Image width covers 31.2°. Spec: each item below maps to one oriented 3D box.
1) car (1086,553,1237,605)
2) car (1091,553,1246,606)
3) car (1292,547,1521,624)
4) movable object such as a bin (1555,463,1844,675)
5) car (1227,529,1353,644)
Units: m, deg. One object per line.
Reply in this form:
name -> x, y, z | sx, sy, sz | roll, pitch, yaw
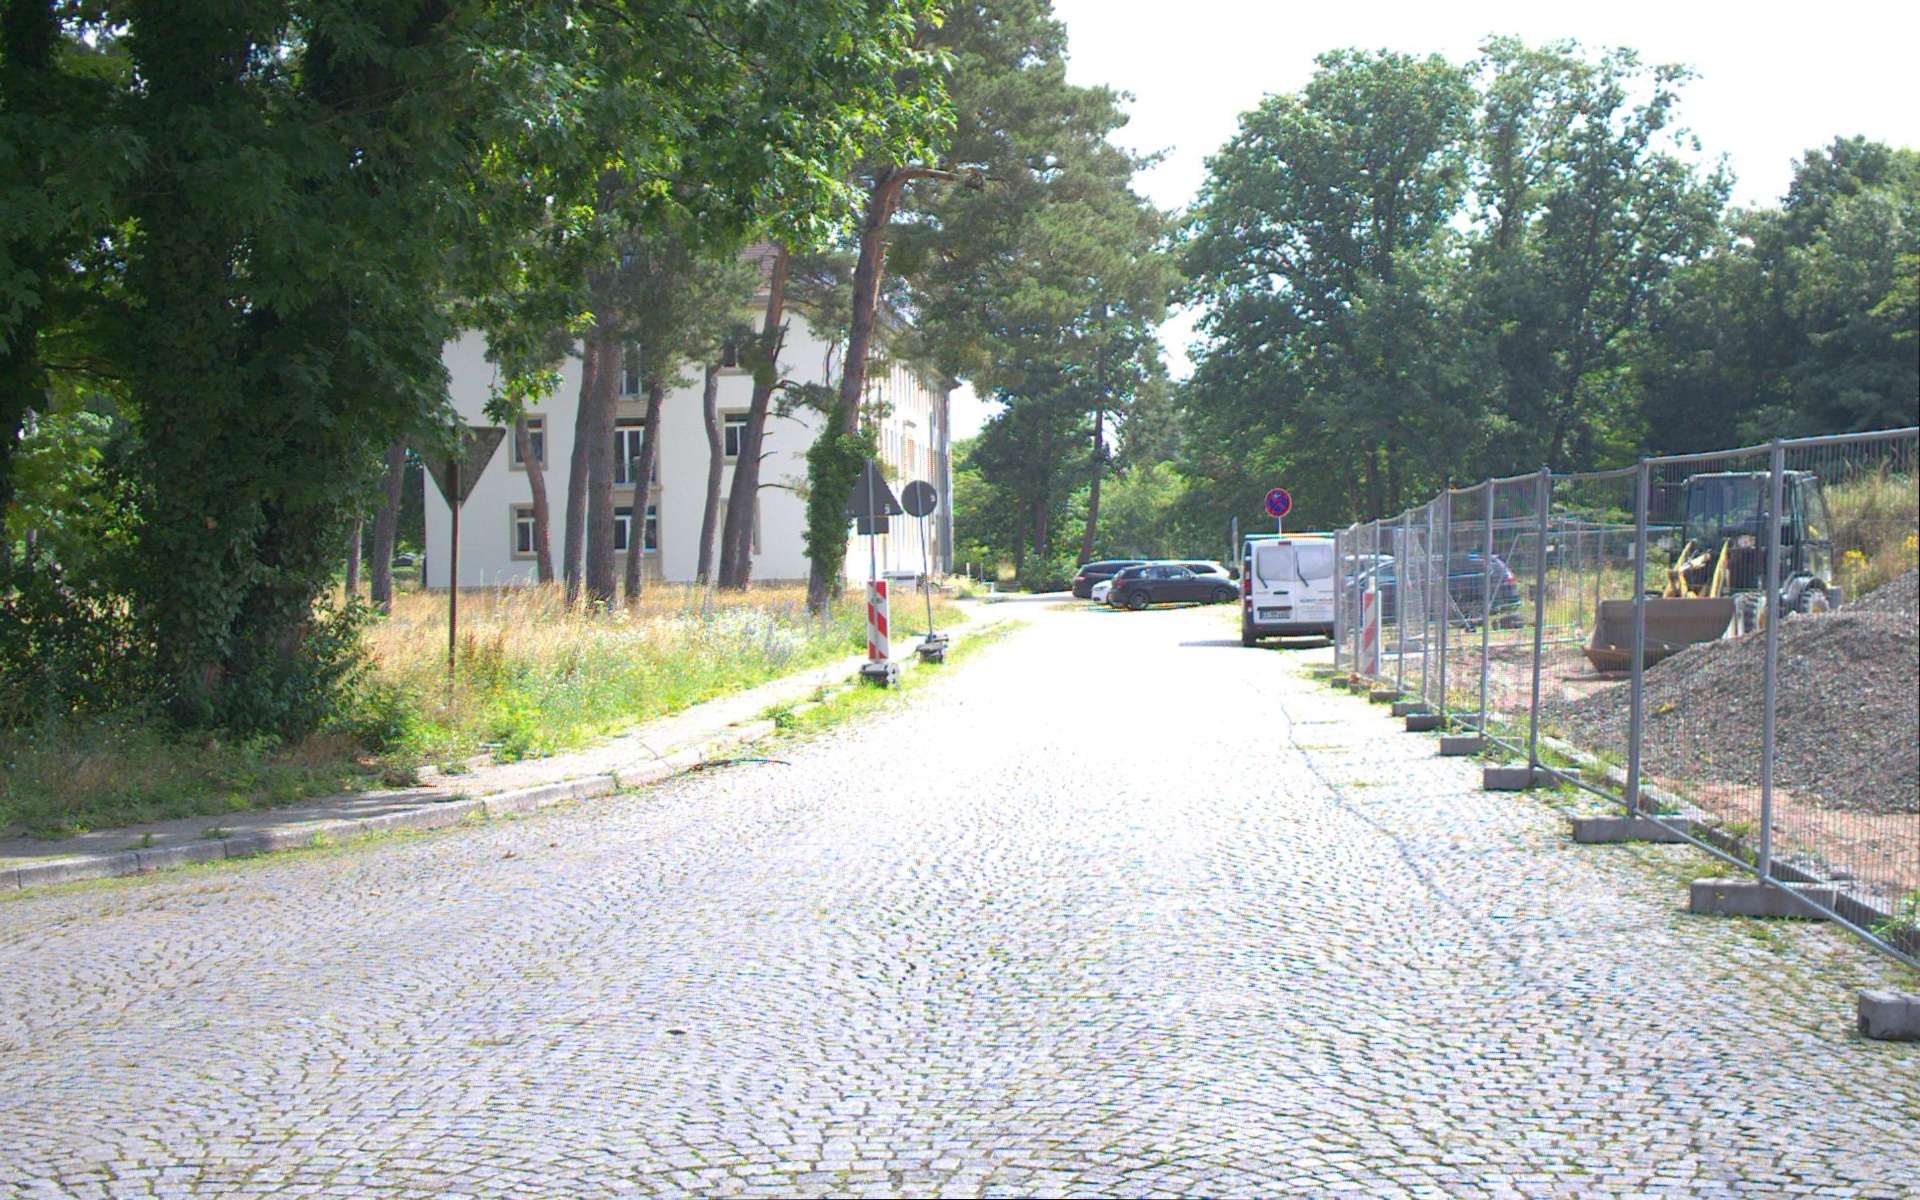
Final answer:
car -> 6.651, -0.709, 113.919 | 4.779, 1.635, 2.000 | -1, 0, -2
car -> 6.692, -0.666, 110.723 | 4.779, 1.635, 2.000 | -1, 0, -2
car -> 8.892, -0.303, 68.350 | 4.404, 1.505, 1.999 | 0, 1, 11
movable object such as a bin -> 9.630, -0.418, 44.461 | 2.132, 2.584, 4.782 | -1, 1, 32
car -> 5.992, -0.257, 62.816 | 1.993, 2.007, 4.091 | -1, 0, 1
